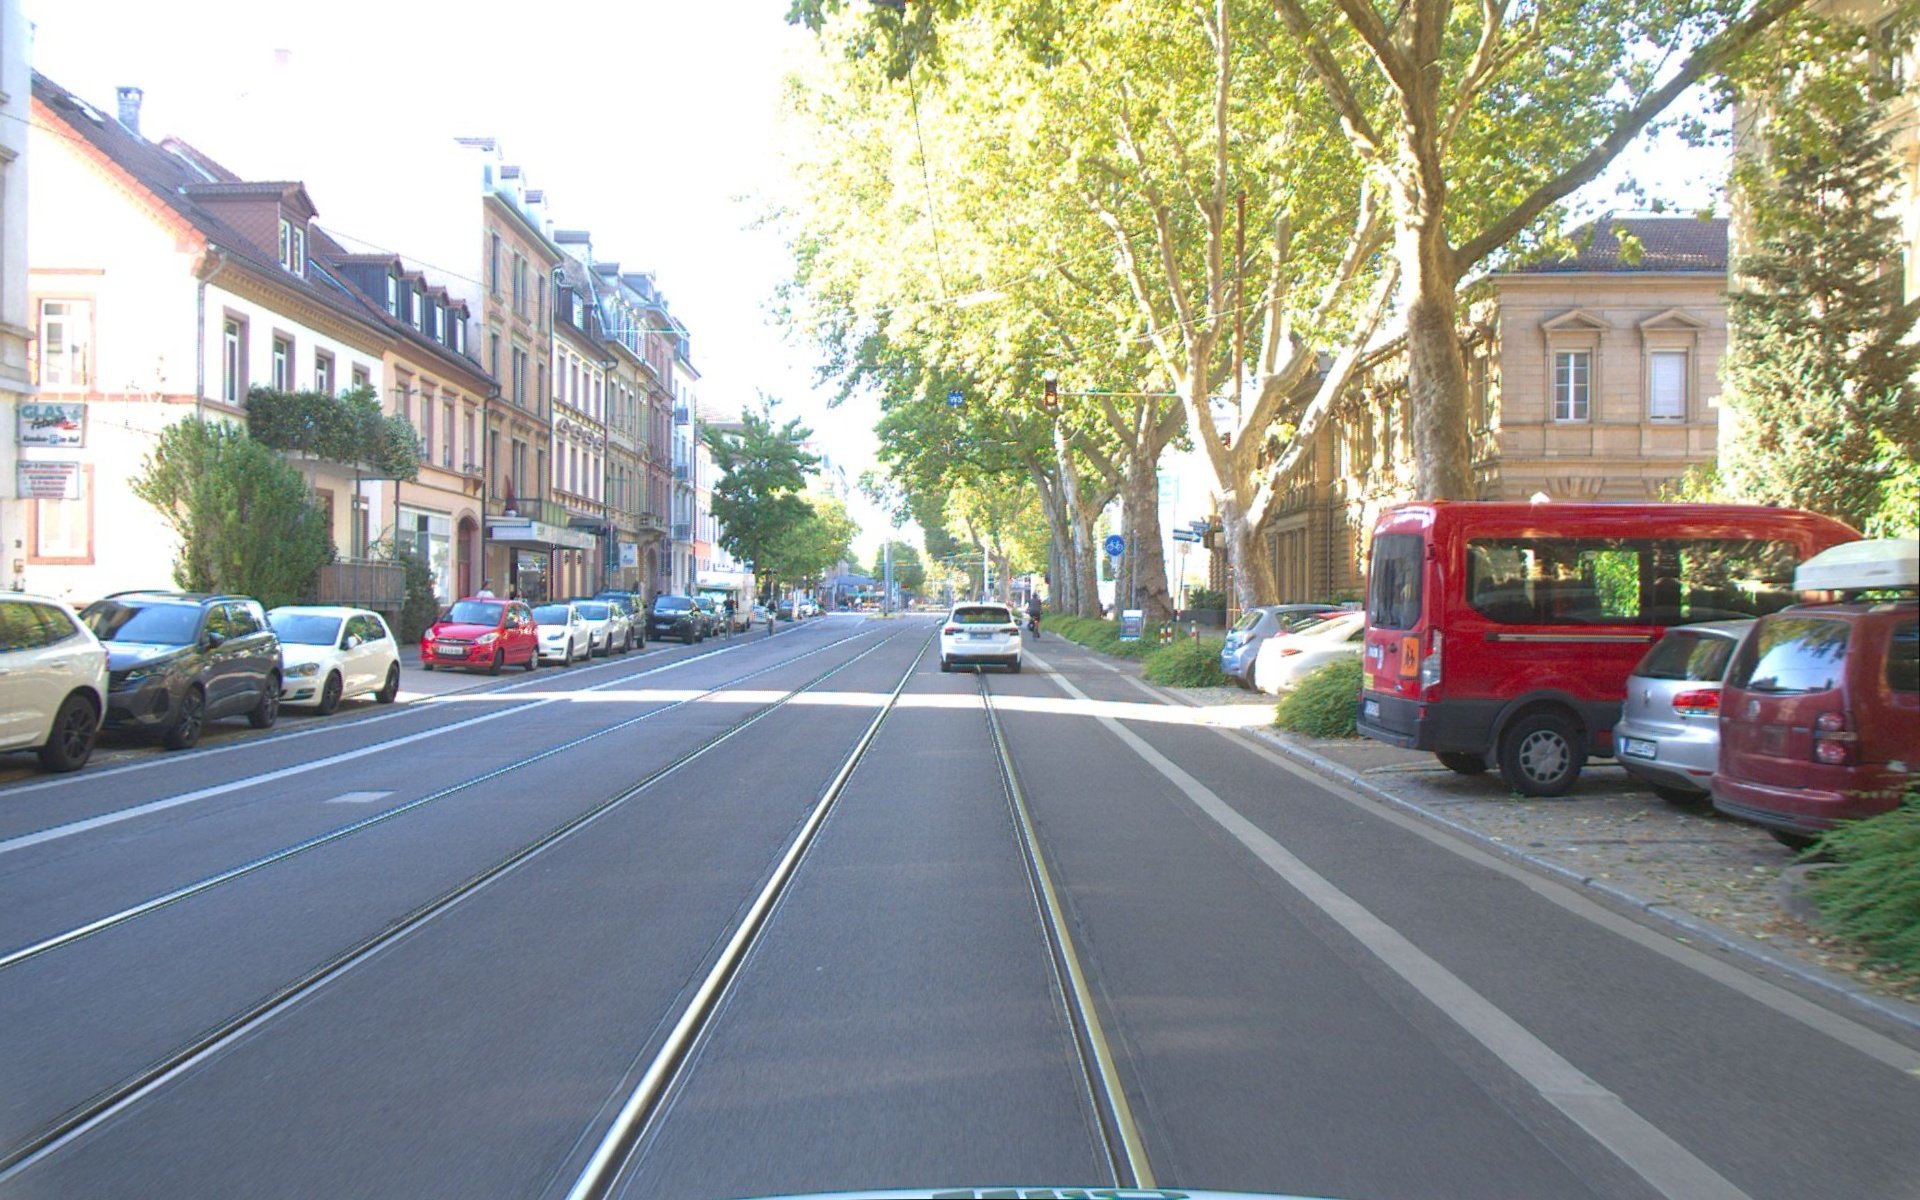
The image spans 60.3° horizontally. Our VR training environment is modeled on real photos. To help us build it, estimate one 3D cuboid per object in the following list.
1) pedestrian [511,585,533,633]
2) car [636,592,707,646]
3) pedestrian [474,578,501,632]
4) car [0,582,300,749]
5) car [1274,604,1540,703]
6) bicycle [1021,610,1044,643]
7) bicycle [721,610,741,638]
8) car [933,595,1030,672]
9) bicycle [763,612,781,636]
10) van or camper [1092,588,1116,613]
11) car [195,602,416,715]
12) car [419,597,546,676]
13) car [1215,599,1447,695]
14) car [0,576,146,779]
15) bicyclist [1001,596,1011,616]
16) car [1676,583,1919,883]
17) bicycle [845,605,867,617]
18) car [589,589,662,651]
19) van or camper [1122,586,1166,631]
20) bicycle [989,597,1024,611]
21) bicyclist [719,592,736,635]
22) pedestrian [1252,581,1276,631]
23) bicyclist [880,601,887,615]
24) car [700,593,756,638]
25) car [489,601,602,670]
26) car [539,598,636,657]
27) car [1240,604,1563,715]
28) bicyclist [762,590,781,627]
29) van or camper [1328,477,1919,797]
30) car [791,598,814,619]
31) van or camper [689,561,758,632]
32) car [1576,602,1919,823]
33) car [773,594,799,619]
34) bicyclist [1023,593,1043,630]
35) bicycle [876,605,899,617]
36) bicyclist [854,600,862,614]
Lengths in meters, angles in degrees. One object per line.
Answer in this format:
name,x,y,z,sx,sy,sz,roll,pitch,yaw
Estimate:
pedestrian,-13.894,0.287,52.461,0.625,1.486,0.654,2,-1,-17
car,-10.790,0.686,62.194,1.925,1.812,4.935,3,0,-3
pedestrian,-14.884,0.167,52.088,0.759,1.663,0.654,2,-1,-17
car,-9.436,0.679,19.561,1.821,1.733,4.653,0,0,-6
car,7.008,0.812,26.122,3.680,1.411,1.679,-1,0,-7
bicycle,2.695,0.966,61.922,0.666,1.175,2.963,2,0,-1
bicycle,-9.121,0.940,65.884,0.474,1.066,2.039,-1,0,1
car,0.403,0.690,35.527,1.806,1.506,3.836,1,0,-3
bicycle,-7.915,0.990,69.701,0.488,0.959,1.921,-1,0,1
van or camper,14.021,0.057,160.936,1.953,2.384,3.999,2,0,0
car,-9.681,0.808,24.838,1.652,1.502,4.256,2,0,-1
car,-10.082,0.736,35.153,1.536,1.590,3.450,0,0,3
car,6.467,0.807,29.069,3.675,1.534,1.681,2,0,-1
car,-9.108,0.662,14.287,1.819,1.733,4.762,0,0,0
bicyclist,3.704,0.455,133.695,0.721,1.617,0.587,0,0,11
car,6.756,0.730,10.362,3.743,1.678,1.766,-1,-1,-4
bicycle,-11.722,1.192,186.444,2.658,1.351,0.607,0,0,-36
car,-10.130,0.578,50.319,1.524,1.762,3.684,2,0,-2
van or camper,10.601,0.483,95.704,1.985,2.507,5.108,2,0,1
bicycle,3.742,0.346,133.686,2.711,1.017,0.593,2,-1,14
bicyclist,-9.254,0.527,65.830,0.524,1.663,0.896,-2,-1,1
pedestrian,10.312,0.203,56.101,0.634,1.661,0.872,1,-1,18
bicyclist,-8.714,0.900,188.395,0.626,1.549,0.602,0,1,-36
car,-9.897,0.649,70.817,1.925,1.813,4.468,1,0,-2
car,-10.073,0.828,40.533,1.791,1.529,4.685,2,0,-3
car,-10.244,0.721,45.775,1.790,1.529,4.448,2,0,-2
car,6.298,0.836,23.931,4.198,1.442,1.760,-1,0,0
bicyclist,-7.932,0.343,69.611,0.625,1.529,1.069,-1,0,0
van or camper,6.502,0.263,15.104,5.699,2.563,2.286,-2,1,-4
car,-13.638,0.713,143.661,1.758,1.756,3.782,1,0,-3
van or camper,-11.368,-0.156,80.067,2.171,3.195,7.113,1,0,1
car,6.976,0.813,12.983,3.660,1.557,1.668,-1,0,-4
car,-12.602,0.470,119.889,1.608,1.756,3.782,1,0,-2
bicyclist,2.723,0.419,61.902,0.665,1.362,0.525,2,-1,-1
bicycle,-8.282,1.294,188.685,2.658,1.351,0.607,0,0,-36
bicyclist,-11.523,0.770,186.582,0.626,1.549,0.602,0,1,-36
